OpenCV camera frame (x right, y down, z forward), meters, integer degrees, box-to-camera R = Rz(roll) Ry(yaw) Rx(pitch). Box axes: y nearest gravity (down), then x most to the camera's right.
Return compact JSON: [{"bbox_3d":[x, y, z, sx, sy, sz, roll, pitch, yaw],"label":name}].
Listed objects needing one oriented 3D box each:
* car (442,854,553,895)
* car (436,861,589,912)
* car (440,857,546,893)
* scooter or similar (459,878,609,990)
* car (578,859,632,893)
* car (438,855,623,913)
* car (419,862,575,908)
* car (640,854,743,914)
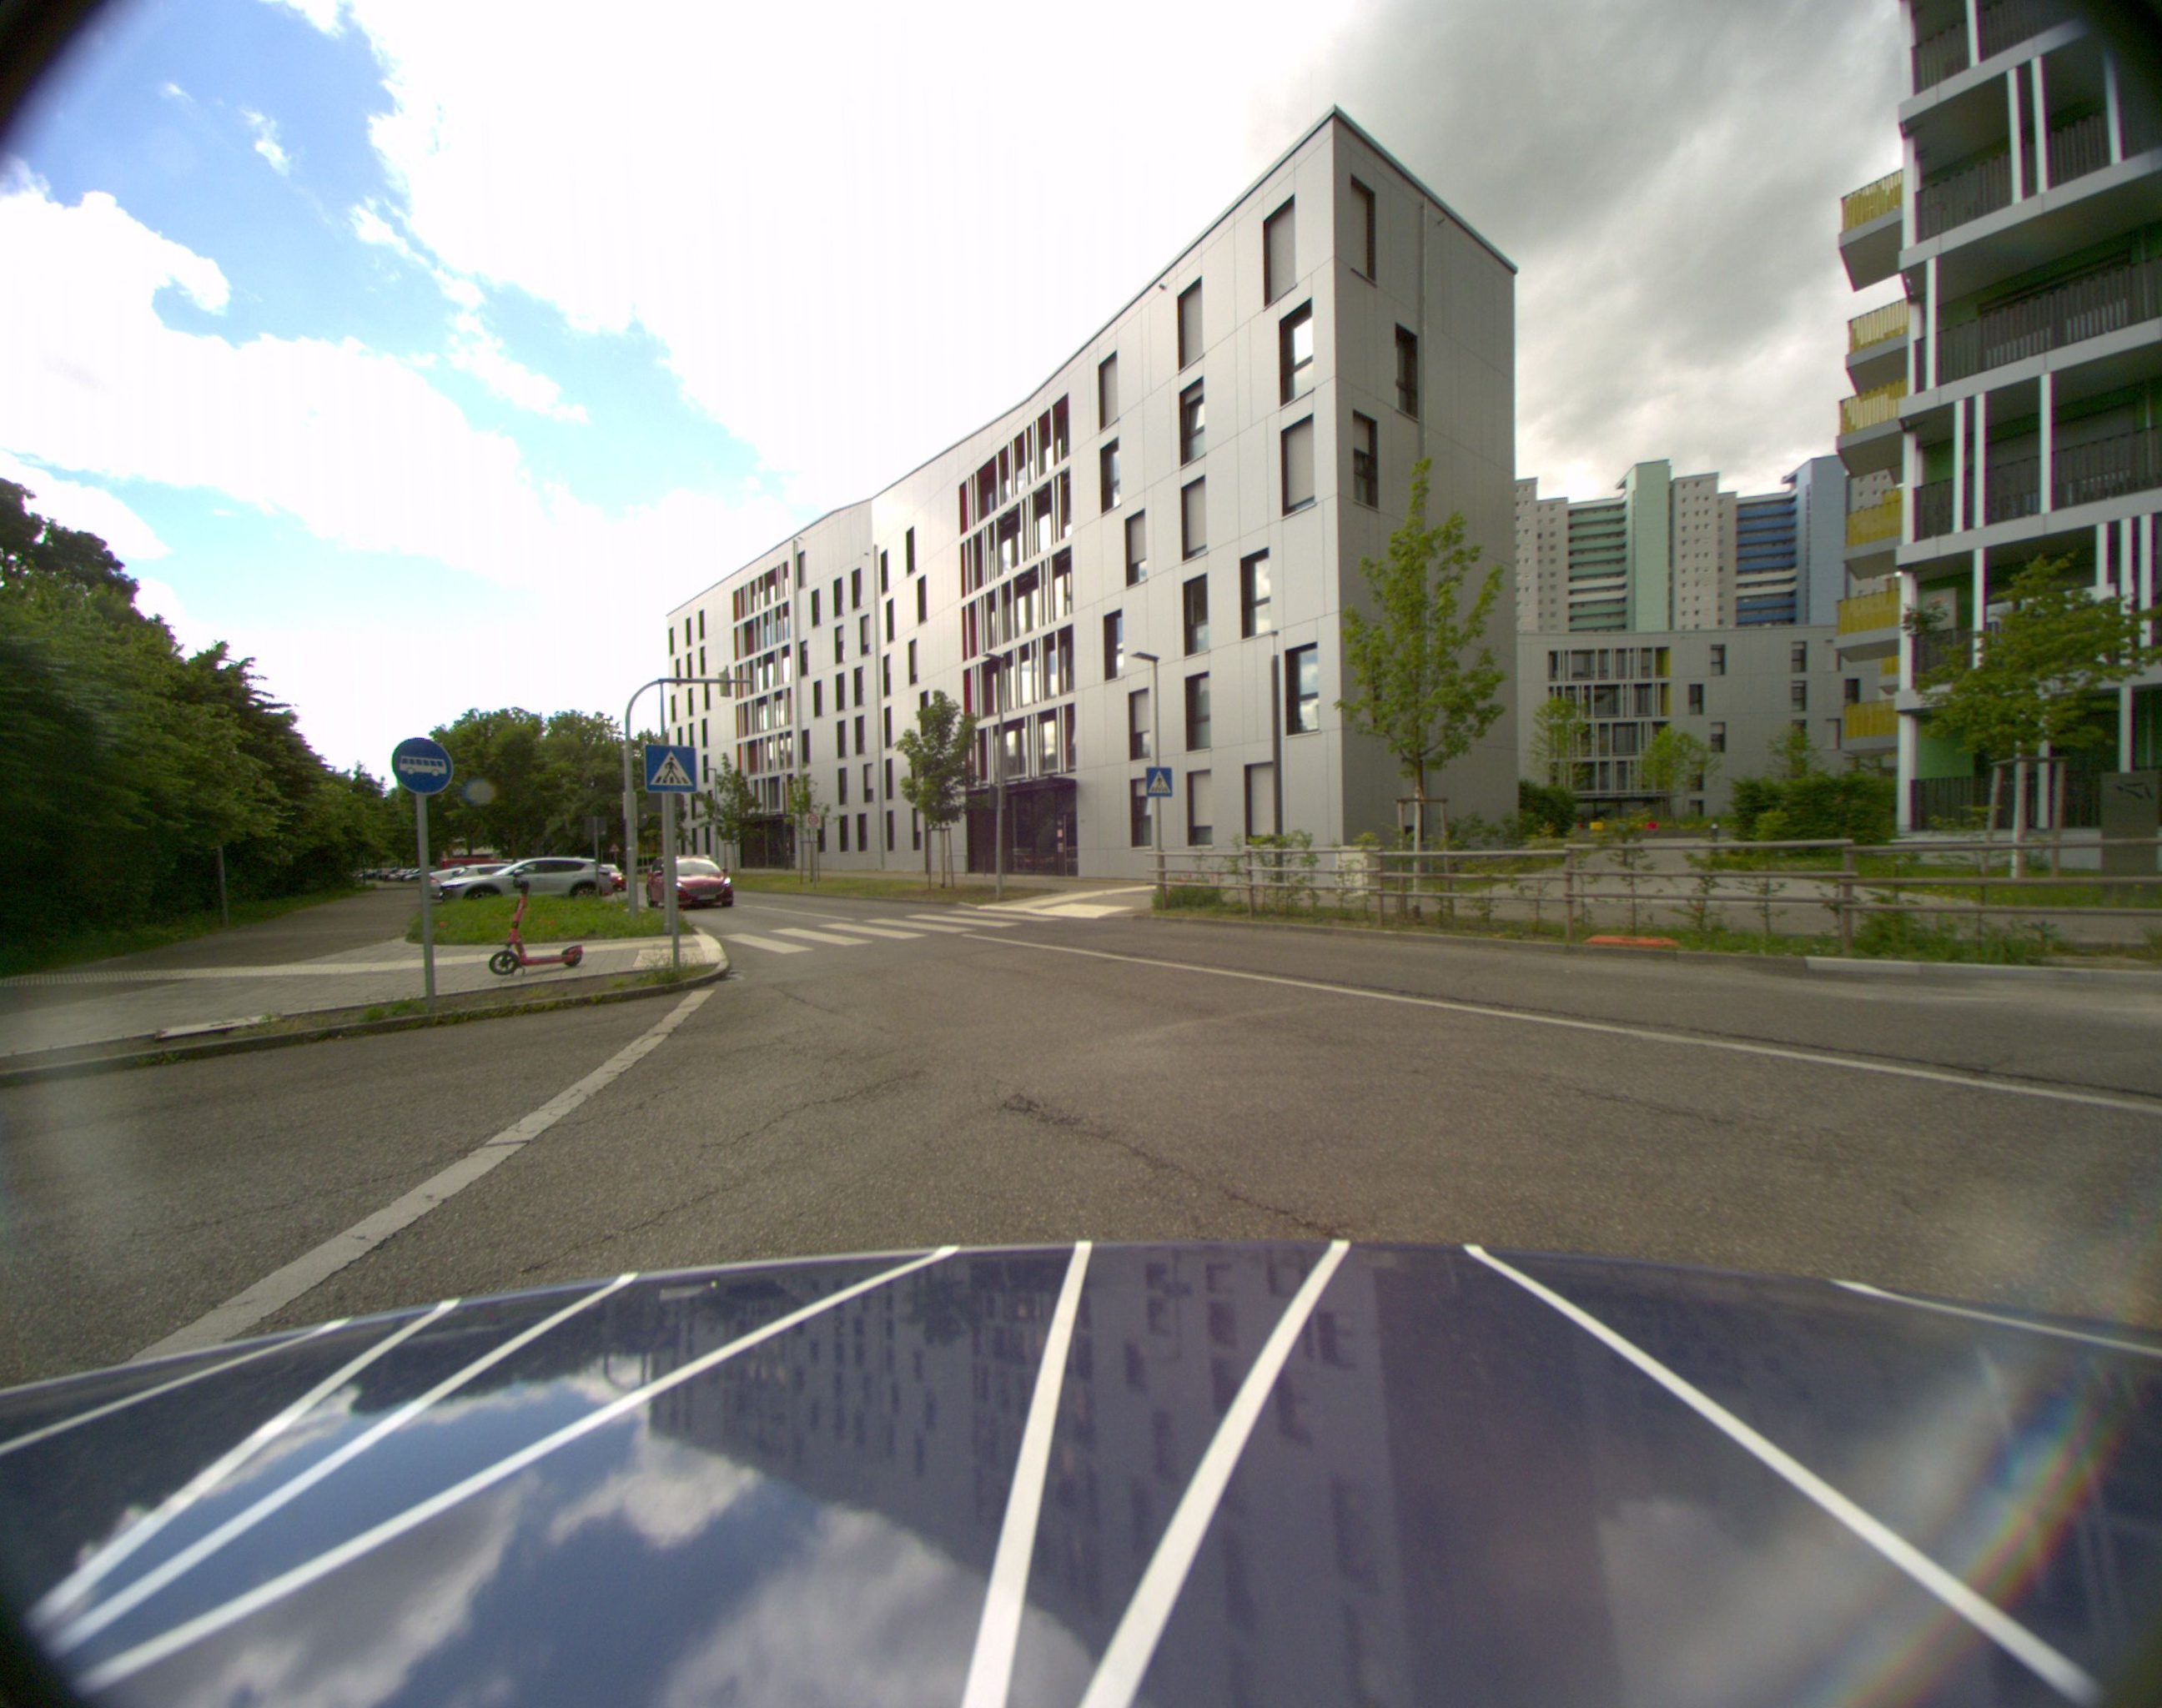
[{"bbox_3d":[-29.441,1.003,38.396,4.303,1.881,1.832,-1,0,-41],"label":"car"},{"bbox_3d":[-19.962,1.091,26.778,4.176,1.577,1.791,-1,0,-41],"label":"car"},{"bbox_3d":[-32.865,1.127,42.550,4.575,1.888,1.879,0,-1,-41],"label":"car"},{"bbox_3d":[-7.306,1.020,10.235,0.571,1.305,1.527,-1,1,19],"label":"scooter or similar"},{"bbox_3d":[-25.082,1.124,39.954,1.822,1.609,3.989,-3,1,-40],"label":"car"},{"bbox_3d":[-17.930,0.918,24.892,4.673,1.741,2.064,0,-1,-43],"label":"car"},{"bbox_3d":[-21.737,1.089,28.385,4.501,1.553,1.906,0,0,-41],"label":"car"},{"bbox_3d":[-12.398,0.865,24.075,1.938,1.622,4.231,-4,3,-39],"label":"car"}]
